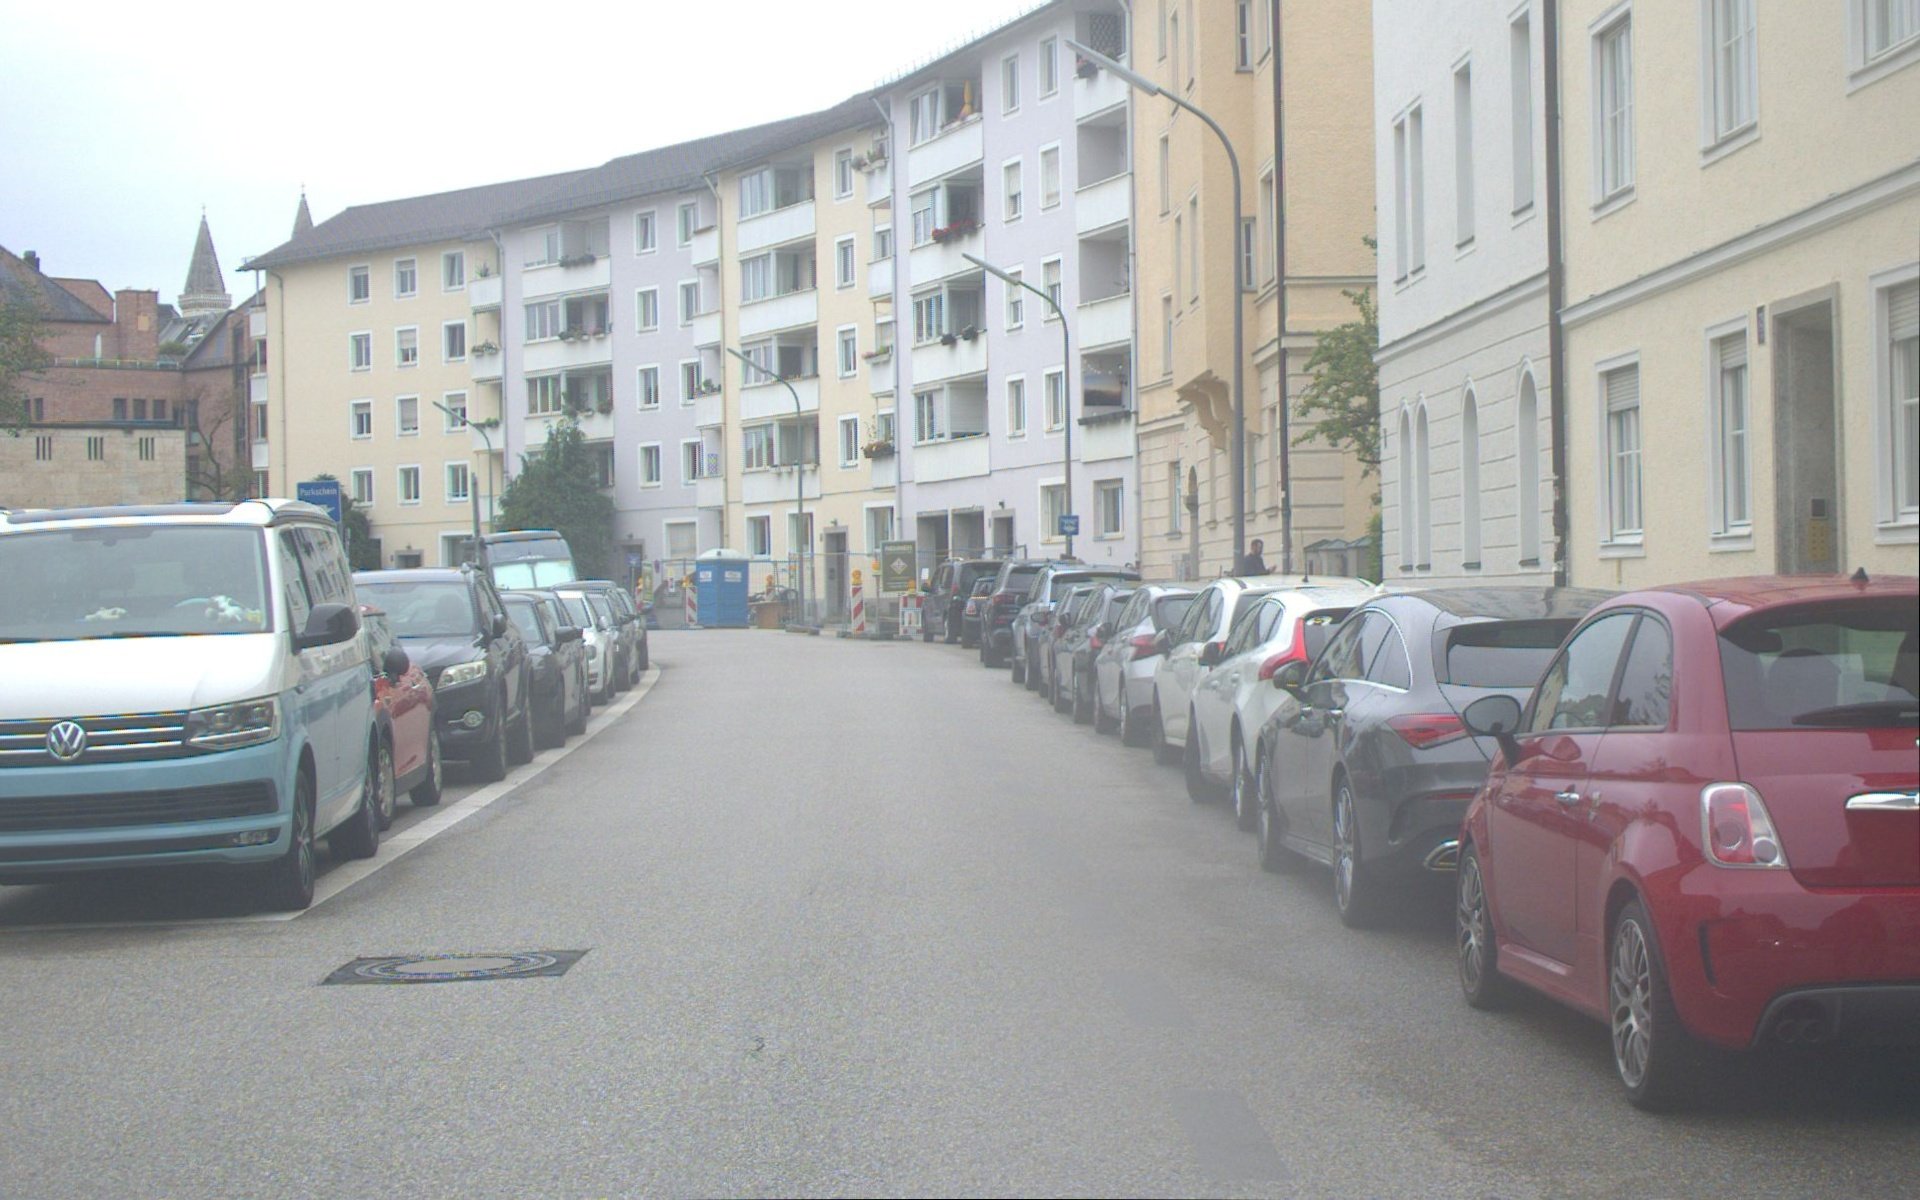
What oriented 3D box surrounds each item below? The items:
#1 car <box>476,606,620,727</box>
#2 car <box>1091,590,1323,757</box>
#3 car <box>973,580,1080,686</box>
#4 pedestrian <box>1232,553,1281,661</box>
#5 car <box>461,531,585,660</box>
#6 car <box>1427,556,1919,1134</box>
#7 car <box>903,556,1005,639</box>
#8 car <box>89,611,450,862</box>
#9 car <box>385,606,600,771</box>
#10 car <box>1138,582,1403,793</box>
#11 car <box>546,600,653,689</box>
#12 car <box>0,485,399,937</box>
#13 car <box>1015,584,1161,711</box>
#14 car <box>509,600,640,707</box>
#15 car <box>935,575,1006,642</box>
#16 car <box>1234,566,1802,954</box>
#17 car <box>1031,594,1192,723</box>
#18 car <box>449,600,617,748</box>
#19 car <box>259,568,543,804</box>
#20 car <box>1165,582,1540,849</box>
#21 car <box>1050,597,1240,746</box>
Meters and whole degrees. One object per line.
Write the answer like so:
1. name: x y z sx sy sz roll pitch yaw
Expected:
1. car: -5.220 0.809 43.904 1.623 1.414 3.982 -2 0 -4
2. car: 2.209 0.646 31.643 1.692 1.428 3.945 1 0 -2
3. car: 1.047 0.512 55.963 1.474 1.635 4.001 1 0 -2
4. pedestrian: 4.699 0.108 54.490 0.667 1.687 0.690 2 -1 -1
5. car: -9.419 -0.091 73.853 1.770 2.645 4.001 2 0 -19
6. car: 2.571 0.630 10.909 1.595 1.504 3.801 -1 0 -1
7. car: -0.146 -0.064 73.067 1.601 1.709 3.090 1 0 -11
8. car: -4.344 0.810 22.115 1.652 1.368 3.653 -2 1 -2
9. car: -4.432 0.804 33.026 1.623 1.407 3.799 -2 0 -2
10. car: 2.333 0.619 26.646 1.599 1.486 3.799 0 1 -2
11. car: -6.127 0.730 58.755 1.623 1.414 3.648 -2 0 -3
12. car: -4.050 0.479 17.344 1.882 1.925 4.601 -2 1 -4
13. car: 1.672 0.599 46.128 1.590 1.577 4.299 1 0 -2
14. car: -5.476 0.729 49.213 1.623 1.414 3.982 -2 0 -3
15. car: 0.198 0.151 67.866 1.272 1.294 2.797 0 0 -2
16. car: 2.361 0.637 15.632 1.692 1.486 4.343 -1 0 -2
17. car: 1.771 0.661 41.078 1.590 1.427 3.826 1 0 -2
18. car: -4.685 0.777 38.128 1.623 1.503 3.982 -2 0 -4
19. car: -4.418 0.625 27.689 1.701 1.685 4.028 -2 1 -2
20. car: 2.365 0.648 21.723 1.692 1.486 4.283 -1 0 -2
21. car: 1.910 0.716 36.607 1.590 1.427 4.421 1 0 -2
